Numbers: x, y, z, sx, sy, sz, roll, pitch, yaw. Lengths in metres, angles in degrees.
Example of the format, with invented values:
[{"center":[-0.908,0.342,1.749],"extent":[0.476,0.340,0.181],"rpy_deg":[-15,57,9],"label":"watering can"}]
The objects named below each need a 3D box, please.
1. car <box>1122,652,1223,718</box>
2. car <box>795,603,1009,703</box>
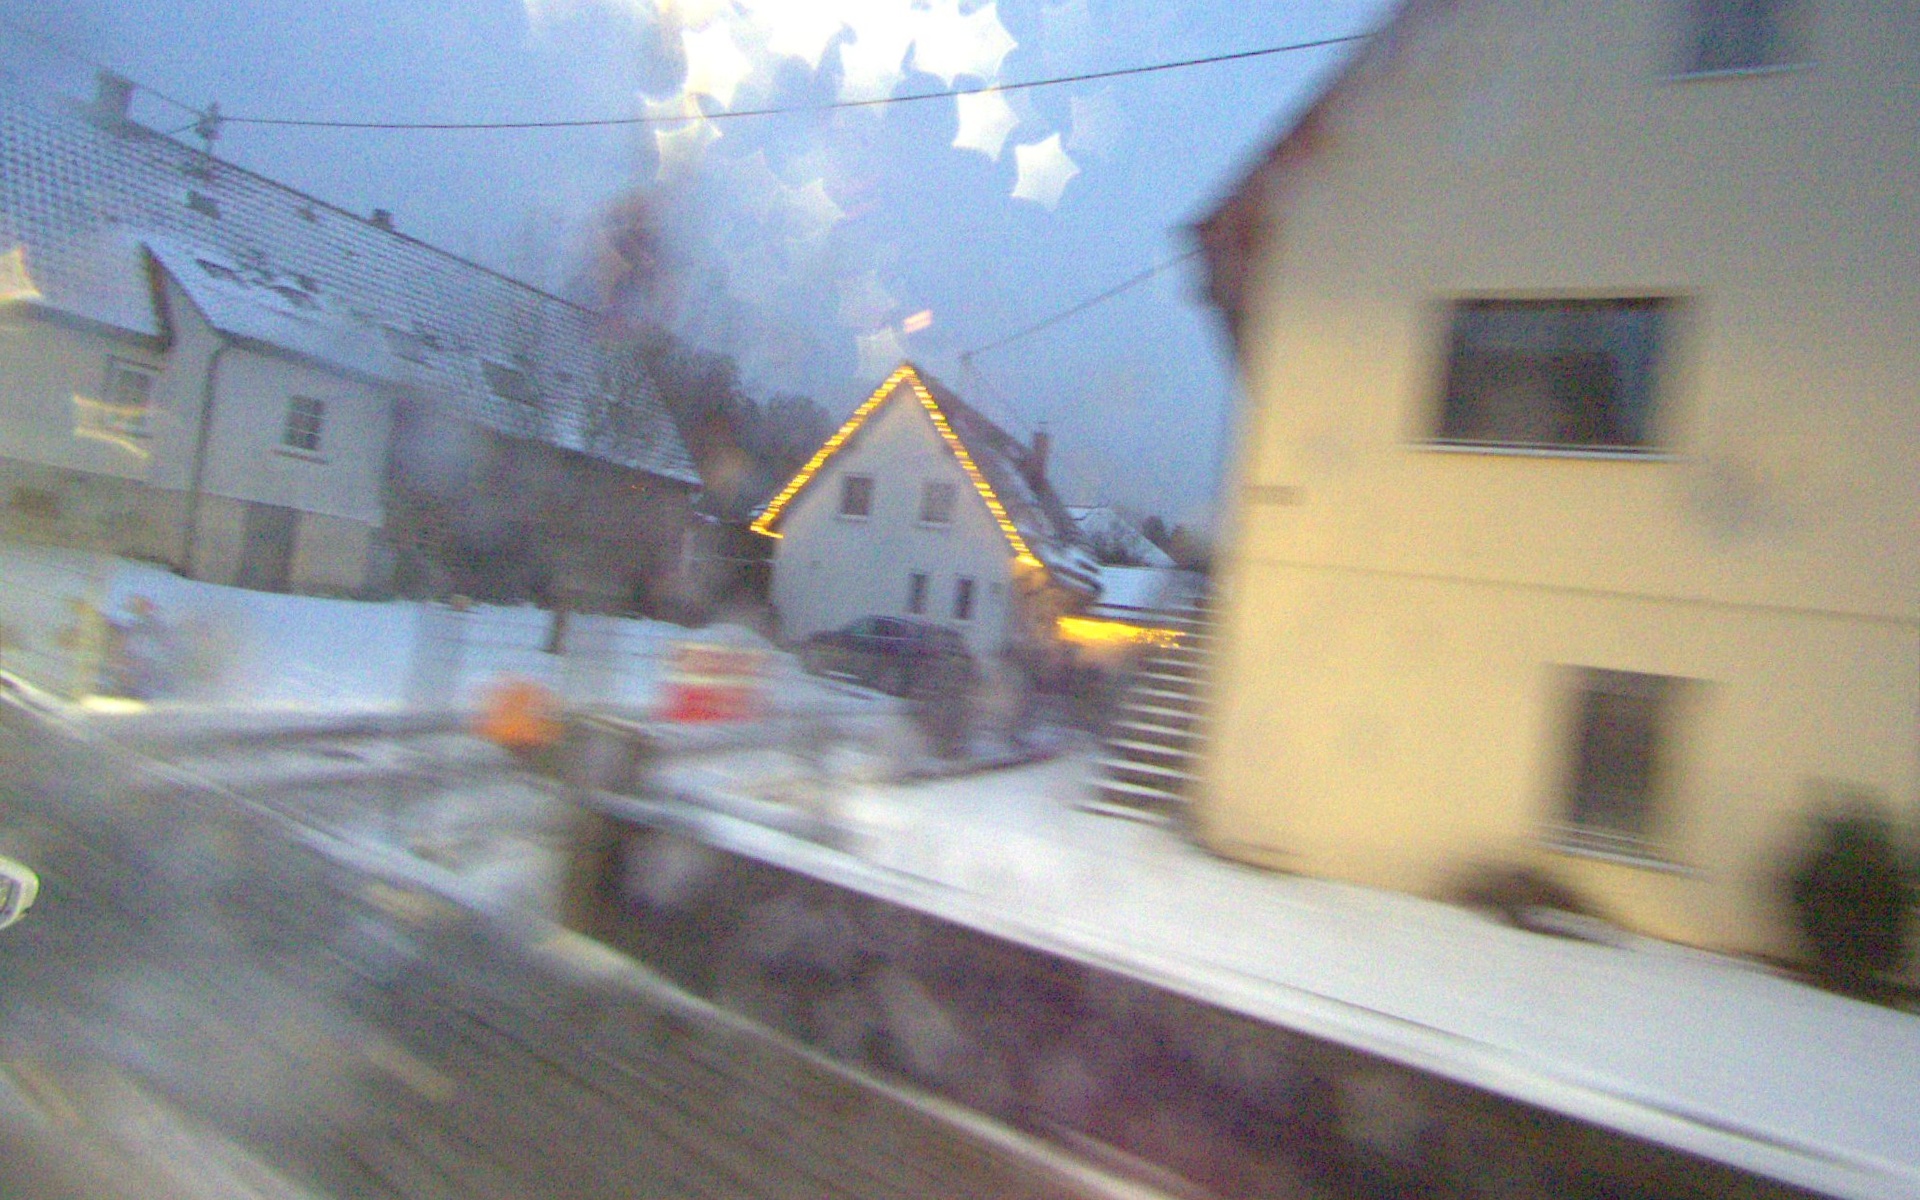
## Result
[{"center":[6.206,2.448,28.988],"extent":[2.015,1.519,4.093],"rpy_deg":[7,-2,22],"label":"car"},{"center":[-1.385,1.149,22.566],"extent":[2.315,1.627,4.470],"rpy_deg":[9,-3,-44],"label":"car"}]
